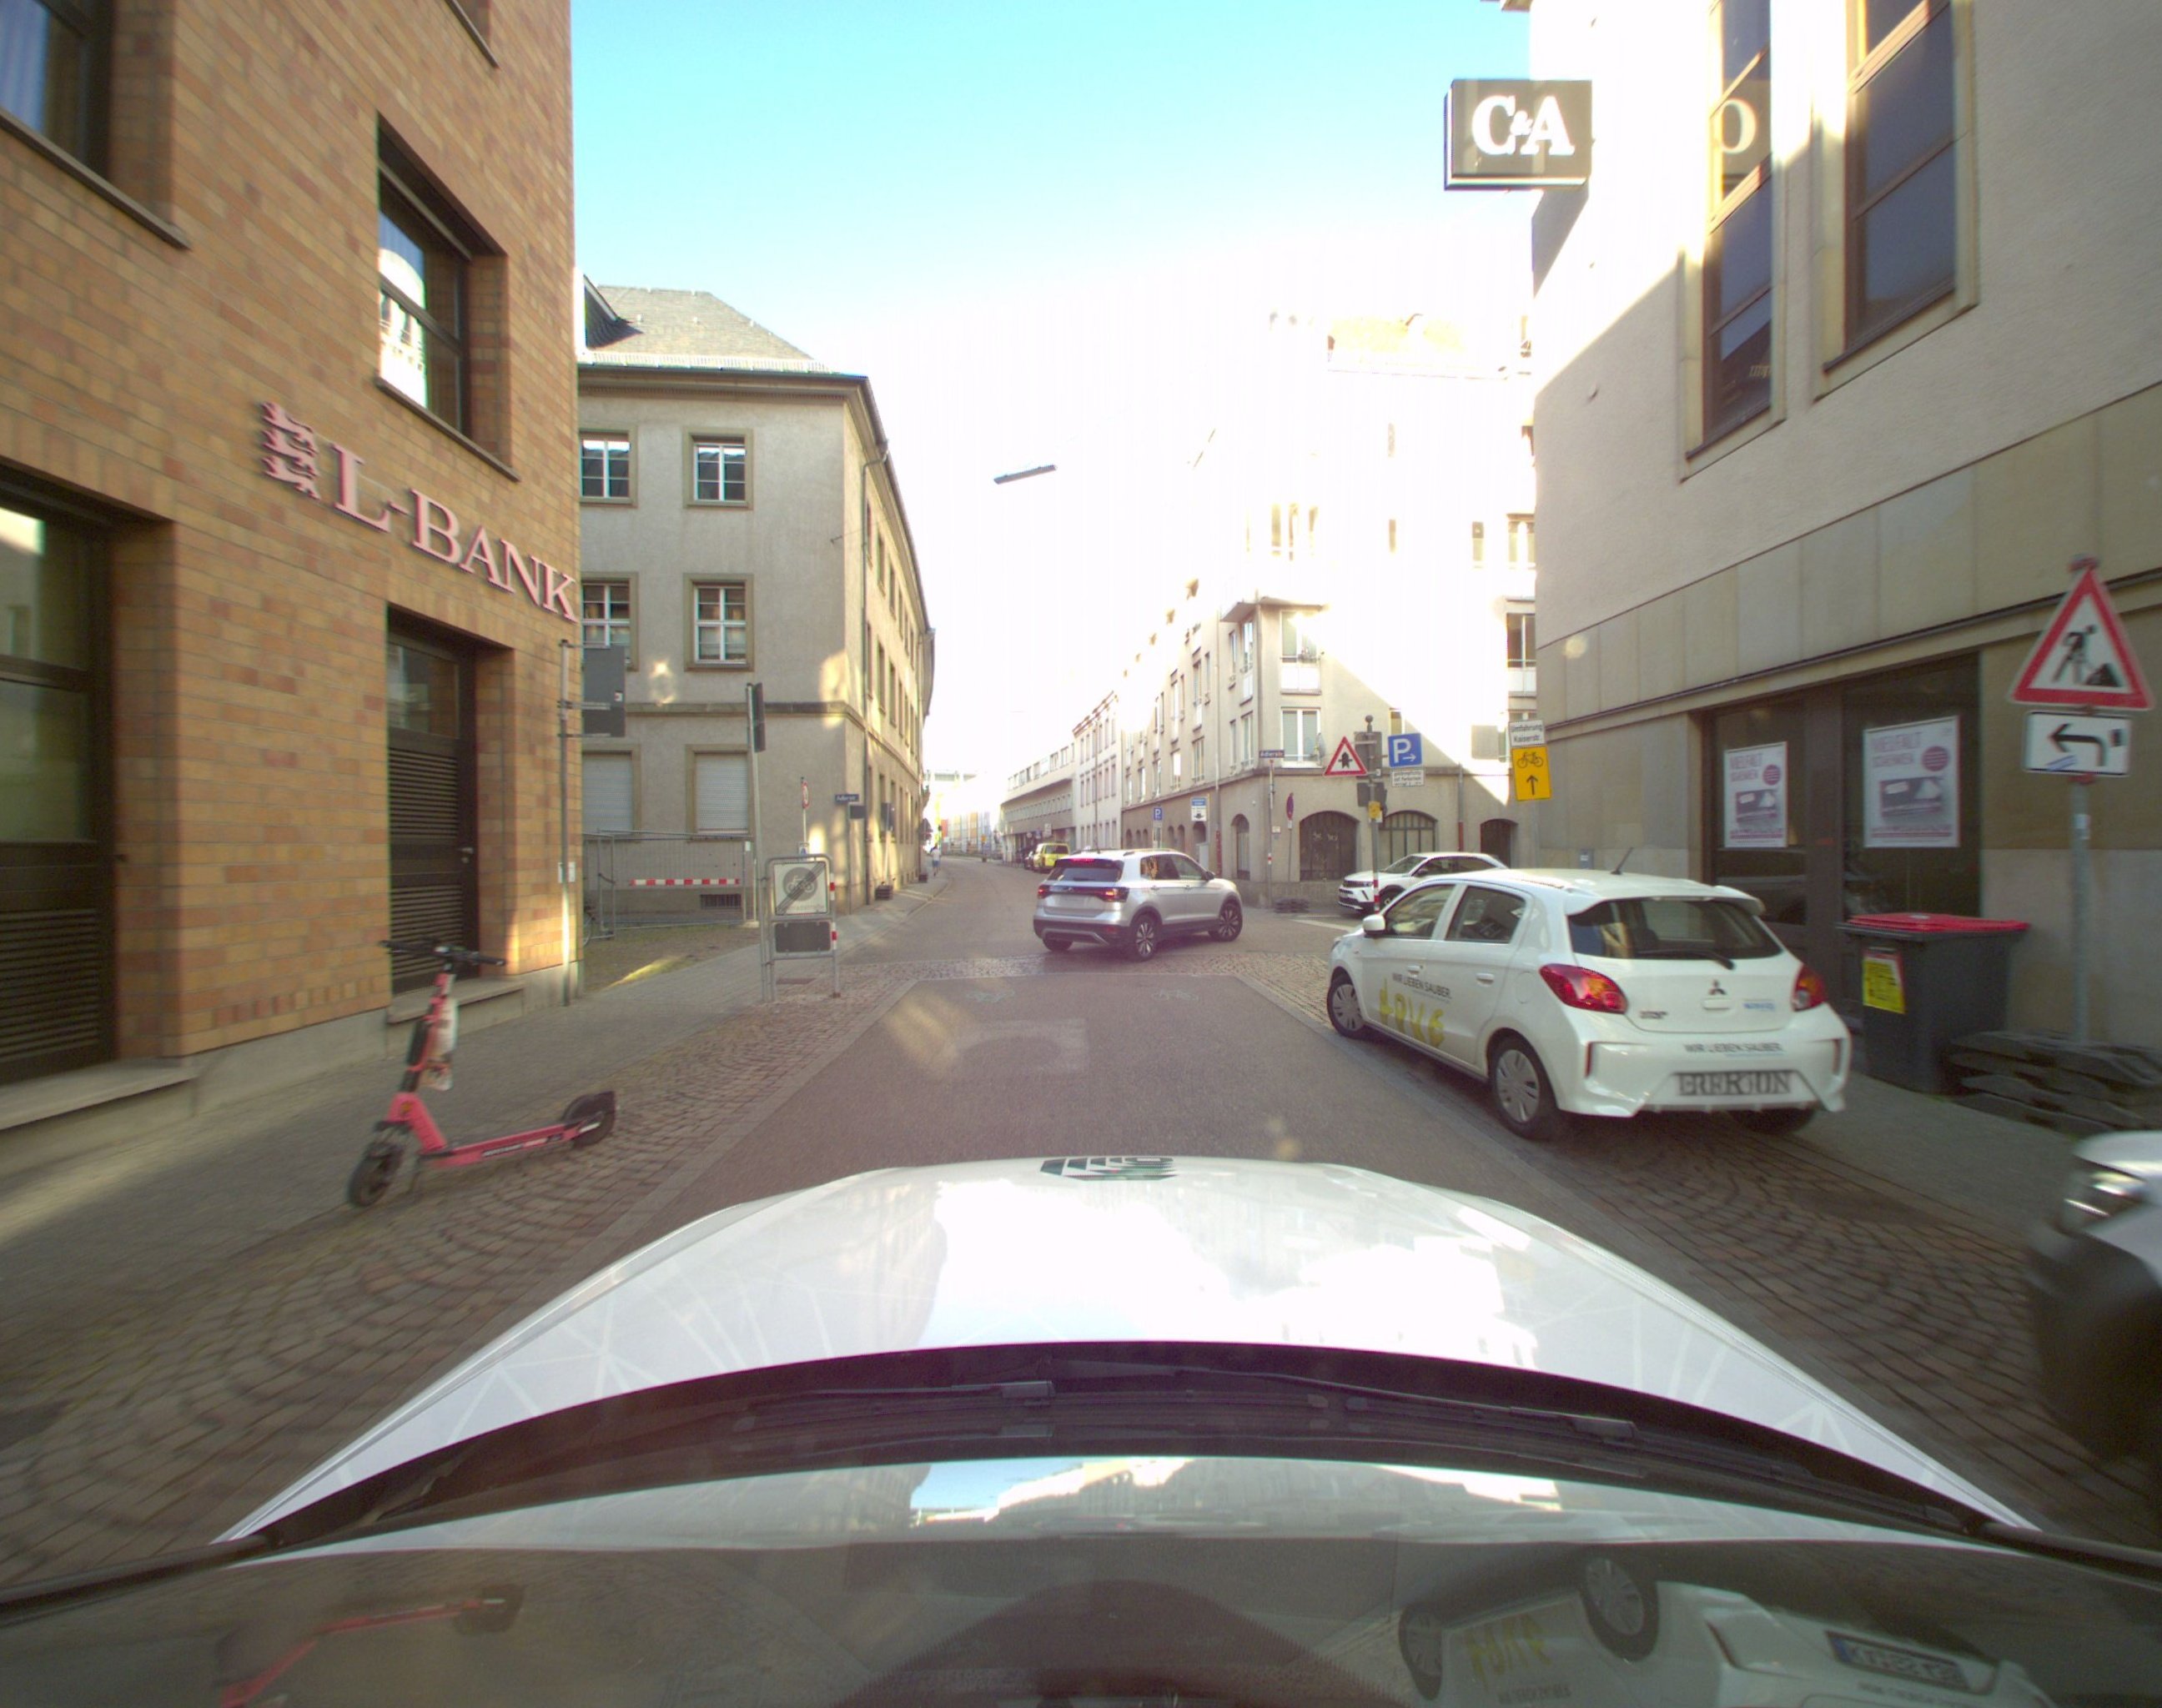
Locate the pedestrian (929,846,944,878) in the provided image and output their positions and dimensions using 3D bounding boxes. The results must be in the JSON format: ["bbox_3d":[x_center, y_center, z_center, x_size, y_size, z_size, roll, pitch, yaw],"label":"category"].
[{"bbox_3d":[-8.000,0.445,45.120,0.767,1.724,0.684,-1,0,-13],"label":"pedestrian"}]

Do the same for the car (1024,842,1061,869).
[{"bbox_3d":[-2.819,0.069,58.135,2.054,1.873,4.084,-1,1,-11],"label":"car"}]

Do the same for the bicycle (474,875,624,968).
[{"bbox_3d":[-7.826,0.951,12.091,0.802,1.201,1.781,0,1,15],"label":"bicycle"}]

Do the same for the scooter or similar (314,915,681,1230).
[{"bbox_3d":[-2.949,0.995,4.255,0.691,1.217,1.365,-1,0,28],"label":"scooter or similar"}]

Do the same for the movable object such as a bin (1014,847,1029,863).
[{"bbox_3d":[-5.770,0.066,78.287,1.133,1.479,1.731,-1,0,-15],"label":"movable object such as a bin"}]

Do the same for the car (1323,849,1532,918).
[{"bbox_3d":[8.172,0.660,19.468,4.204,1.553,1.901,0,0,-2],"label":"car"}]

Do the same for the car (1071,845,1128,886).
[{"bbox_3d":[0.762,0.443,35.879,1.966,1.692,4.092,1,1,-7],"label":"car"}]

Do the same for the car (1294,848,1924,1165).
[{"bbox_3d":[3.164,0.721,6.037,1.884,1.518,4.057,0,0,-4],"label":"car"}]

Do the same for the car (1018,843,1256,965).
[{"bbox_3d":[1.042,0.654,12.974,1.819,1.562,4.026,-1,1,38],"label":"car"}]

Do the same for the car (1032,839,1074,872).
[{"bbox_3d":[-1.824,0.070,52.348,2.054,2.013,4.159,-1,1,-11],"label":"car"}]

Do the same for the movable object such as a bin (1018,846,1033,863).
[{"bbox_3d":[-5.214,0.052,76.583,1.133,1.558,1.731,-1,0,-15],"label":"movable object such as a bin"}]

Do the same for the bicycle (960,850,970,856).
[{"bbox_3d":[-20.074,-0.124,141.045,1.782,1.000,0.544,-1,0,-13],"label":"bicycle"}]
